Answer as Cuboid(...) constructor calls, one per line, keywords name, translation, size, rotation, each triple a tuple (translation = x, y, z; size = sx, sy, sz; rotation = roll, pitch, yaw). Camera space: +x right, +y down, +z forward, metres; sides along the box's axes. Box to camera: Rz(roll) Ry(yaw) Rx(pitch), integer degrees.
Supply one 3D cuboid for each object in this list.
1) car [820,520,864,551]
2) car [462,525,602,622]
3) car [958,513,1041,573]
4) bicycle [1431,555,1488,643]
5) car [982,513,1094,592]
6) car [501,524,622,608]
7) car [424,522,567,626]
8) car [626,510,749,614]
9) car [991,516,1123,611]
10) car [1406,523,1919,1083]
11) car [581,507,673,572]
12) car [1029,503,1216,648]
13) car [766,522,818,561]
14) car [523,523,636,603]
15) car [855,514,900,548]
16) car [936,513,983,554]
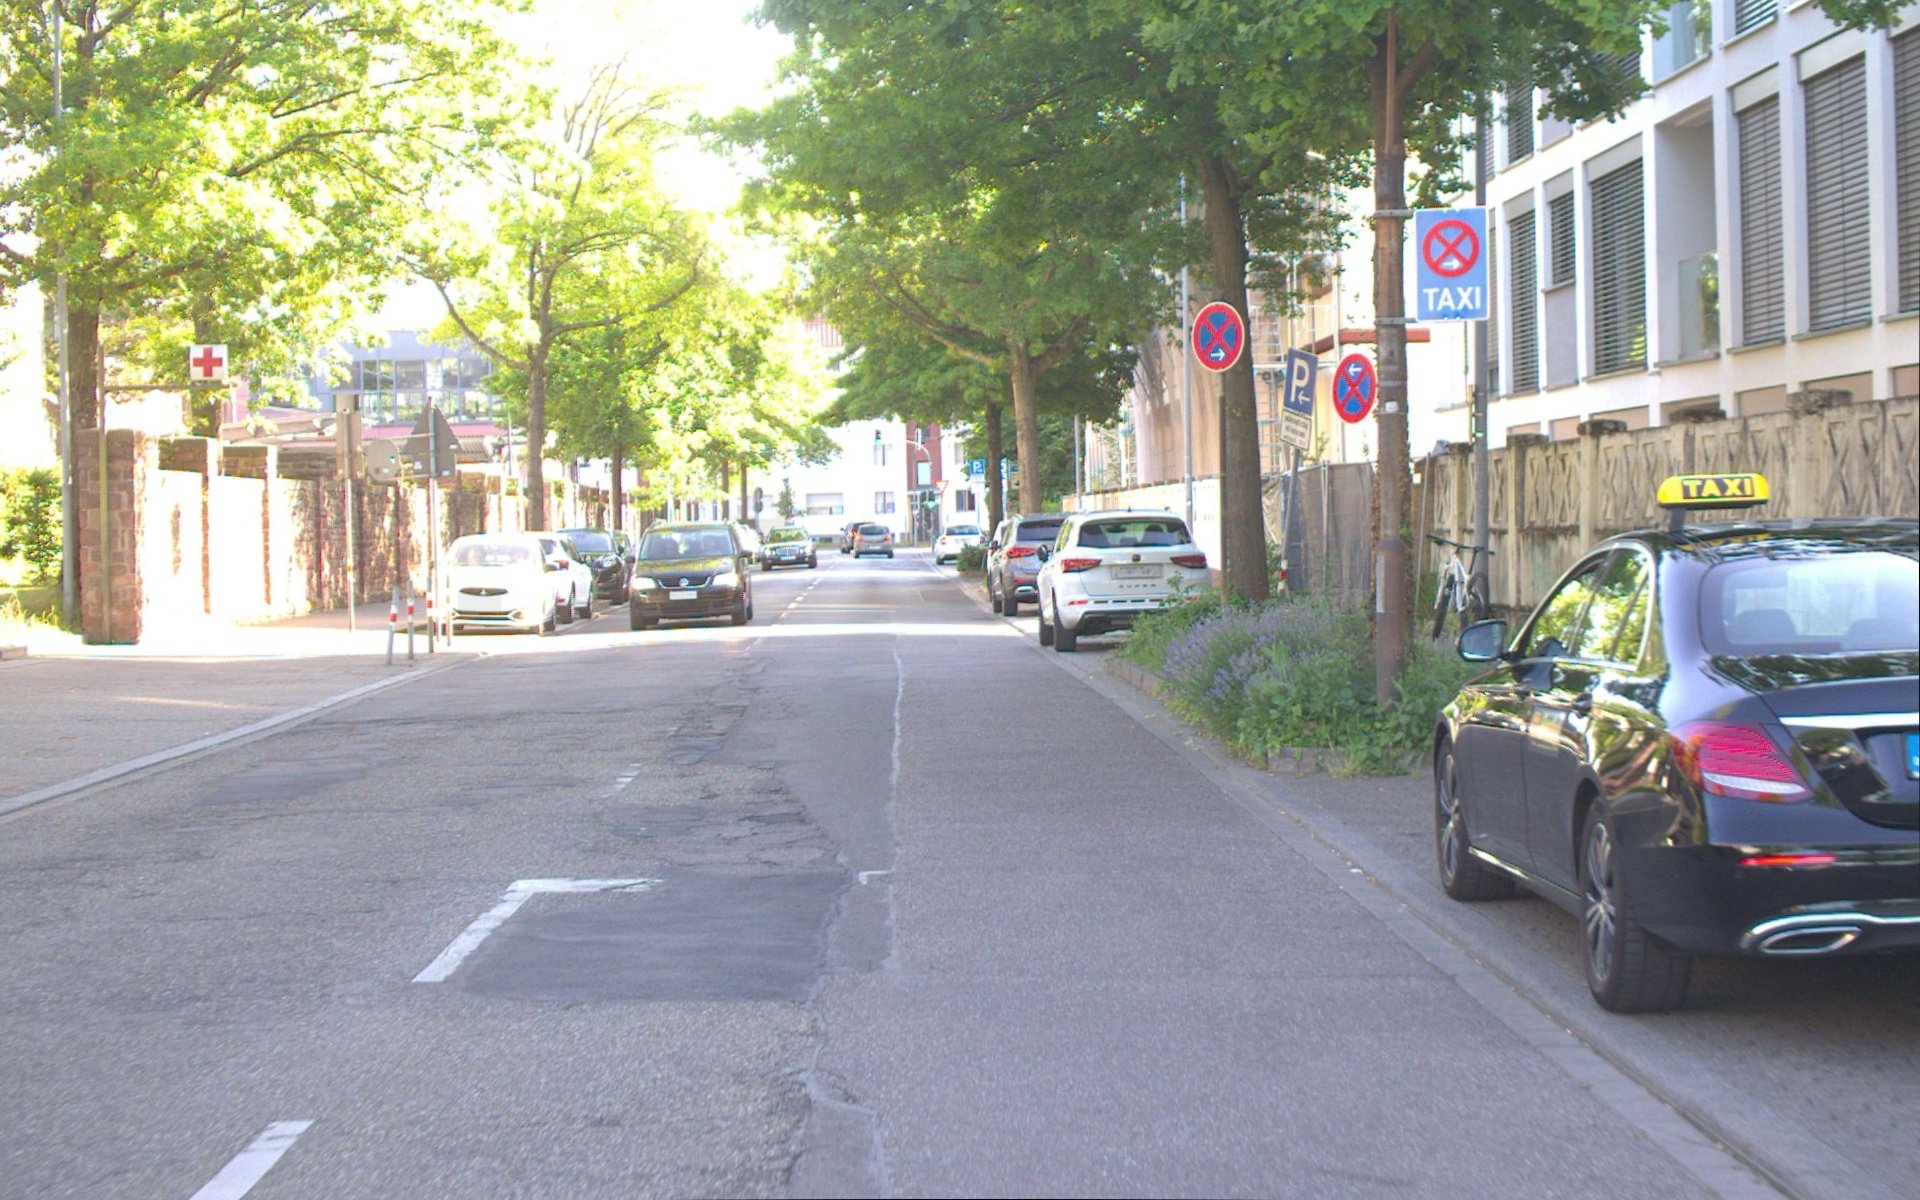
Cuboid(name="car", translation=(-5.803, -3.166, 168.607), size=(1.993, 1.448, 4.001), rotation=(-1, 2, -4))
Cuboid(name="car", translation=(-7.153, -0.469, 57.780), size=(1.907, 1.525, 4.001), rotation=(-1, 2, -1))
Cuboid(name="car", translation=(0.959, -1.446, 86.387), size=(1.993, 1.420, 3.837), rotation=(-1, 2, 0))
Cuboid(name="bicycle", translation=(4.948, -0.017, 34.075), size=(0.356, 0.839, 1.324), rotation=(-1, 1, 0))
Cuboid(name="car", translation=(1.450, -0.915, 65.080), size=(1.993, 1.420, 3.837), rotation=(-1, 2, 0))
Cuboid(name="car", translation=(-7.589, -0.673, 65.805), size=(1.907, 1.525, 4.001), rotation=(-1, 2, -1))
Cuboid(name="car", translation=(-6.976, -0.422, 51.924), size=(1.767, 1.482, 4.001), rotation=(0, 1, -2))
Cuboid(name="car", translation=(-4.194, -0.613, 53.295), size=(1.653, 1.525, 4.001), rotation=(-1, 2, -1))
Cuboid(name="car", translation=(1.537, -0.617, 55.690), size=(1.993, 1.460, 3.837), rotation=(-1, 2, 0))
Cuboid(name="car", translation=(2.680, 0.492, 11.118), size=(1.767, 1.435, 4.001), rotation=(-1, 1, -2))
Cuboid(name="car", translation=(-8.021, -1.478, 82.995), size=(1.907, 1.525, 4.001), rotation=(-1, 1, -1))
Cuboid(name="car", translation=(1.838, -0.322, 39.929), size=(1.950, 1.572, 3.837), rotation=(-1, 2, 0))
Cuboid(name="car", translation=(-5.738, -2.009, 117.507), size=(1.585, 1.271, 3.837), rotation=(-1, 2, 0))
Cuboid(name="car", translation=(-7.710, -0.778, 69.944), size=(1.907, 1.525, 4.001), rotation=(-1, 2, -1))
Cuboid(name="car", translation=(-3.607, -3.026, 150.209), size=(1.889, 1.395, 3.837), rotation=(-1, 2, 0))
Cuboid(name="car", translation=(-0.029, -2.347, 120.822), size=(1.585, 1.395, 3.837), rotation=(-1, 2, 0))
